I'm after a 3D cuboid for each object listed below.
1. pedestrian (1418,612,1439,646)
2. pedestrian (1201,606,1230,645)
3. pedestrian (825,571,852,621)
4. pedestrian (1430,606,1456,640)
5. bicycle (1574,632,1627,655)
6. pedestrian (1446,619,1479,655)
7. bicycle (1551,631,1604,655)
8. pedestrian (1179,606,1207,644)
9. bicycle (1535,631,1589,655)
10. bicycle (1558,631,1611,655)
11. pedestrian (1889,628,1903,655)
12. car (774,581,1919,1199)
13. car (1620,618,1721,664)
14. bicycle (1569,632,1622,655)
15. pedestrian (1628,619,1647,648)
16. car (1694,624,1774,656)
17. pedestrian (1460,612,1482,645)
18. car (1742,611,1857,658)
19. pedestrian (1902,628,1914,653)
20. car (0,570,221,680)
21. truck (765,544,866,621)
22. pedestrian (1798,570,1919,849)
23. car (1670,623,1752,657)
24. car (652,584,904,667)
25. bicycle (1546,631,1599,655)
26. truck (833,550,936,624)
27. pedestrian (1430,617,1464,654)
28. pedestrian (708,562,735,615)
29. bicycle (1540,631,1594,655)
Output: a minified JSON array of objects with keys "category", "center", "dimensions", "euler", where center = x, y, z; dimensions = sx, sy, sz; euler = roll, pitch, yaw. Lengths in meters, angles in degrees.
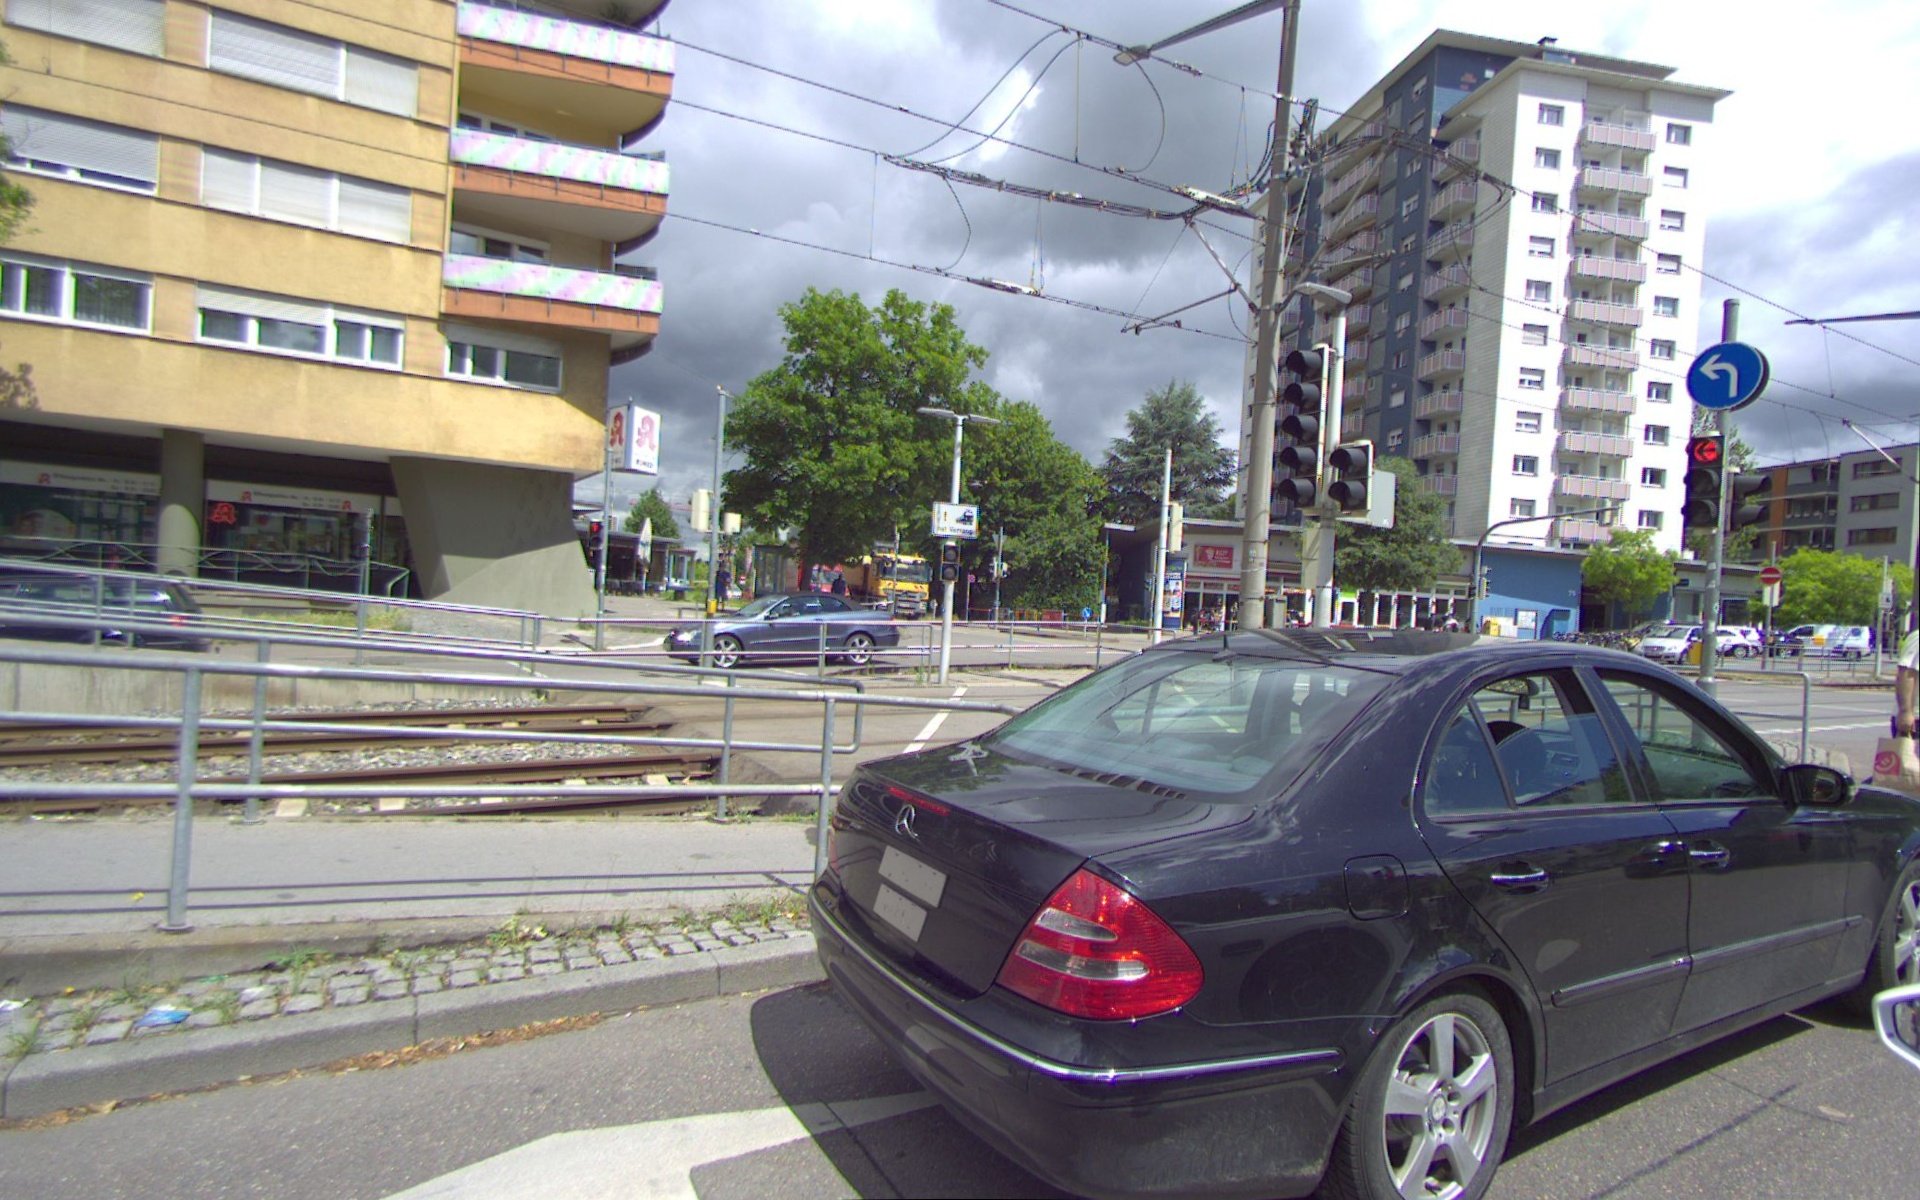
[{"category":"pedestrian","center":[23.214,1.442,49.751],"dimensions":[0.757,1.637,0.695],"euler":[2,0,39]},{"category":"pedestrian","center":[11.574,1.151,45.520],"dimensions":[0.977,1.681,0.969],"euler":[2,-1,-4]},{"category":"pedestrian","center":[-4.249,-0.154,35.073],"dimensions":[0.752,1.636,0.779],"euler":[7,1,-9]},{"category":"pedestrian","center":[27.791,1.328,57.795],"dimensions":[1.203,1.942,0.858],"euler":[1,1,-37]},{"category":"bicycle","center":[28.506,1.937,44.755],"dimensions":[0.490,0.947,1.934],"euler":[2,0,-35]},{"category":"pedestrian","center":[23.937,1.747,47.827],"dimensions":[1.085,1.681,0.941],"euler":[2,-1,-27]},{"category":"bicycle","center":[27.047,1.886,44.019],"dimensions":[0.490,0.947,1.934],"euler":[2,0,-35]},{"category":"pedestrian","center":[10.512,1.115,45.322],"dimensions":[0.977,1.681,0.969],"euler":[2,-1,-4]},{"category":"bicycle","center":[25.873,1.844,43.189],"dimensions":[0.490,0.947,1.934],"euler":[2,0,-35]},{"category":"bicycle","center":[27.510,1.903,44.296],"dimensions":[0.490,0.947,1.934],"euler":[2,0,-35]},{"category":"pedestrian","center":[61.216,2.683,65.695],"dimensions":[0.663,1.739,0.542],"euler":[1,1,-39]},{"category":"car","center":[1.774,0.753,3.638],"dimensions":[4.490,1.481,1.720],"euler":[2,0,-30]},{"category":"car","center":[29.114,1.671,41.142],"dimensions":[3.827,1.715,1.928],"euler":[2,0,-30]},{"category":"bicycle","center":[28.105,1.923,44.478],"dimensions":[0.490,0.947,1.934],"euler":[2,0,-35]},{"category":"pedestrian","center":[38.306,1.881,56.799],"dimensions":[0.759,1.637,0.694],"euler":[2,1,44]},{"category":"car","center":[42.555,2.162,55.343],"dimensions":[1.921,1.558,4.220],"euler":[2,0,13]},{"category":"pedestrian","center":[25.718,1.427,50.532],"dimensions":[0.693,1.637,0.760],"euler":[1,1,-43]},{"category":"car","center":[49.568,1.967,59.561],"dimensions":[2.776,2.512,6.724],"euler":[2,0,17]},{"category":"pedestrian","center":[66.896,2.832,70.877],"dimensions":[0.401,1.739,0.542],"euler":[1,1,-39]},{"category":"car","center":[-12.824,0.322,13.751],"dimensions":[4.205,1.433,1.621],"euler":[1,0,-32]},{"category":"truck","center":[-7.184,-0.822,48.775],"dimensions":[2.692,3.320,8.877],"euler":[2,0,-22]},{"category":"pedestrian","center":[6.514,0.720,6.966],"dimensions":[0.734,1.832,0.863],"euler":[1,1,-33]},{"category":"car","center":[39.922,2.100,53.505],"dimensions":[1.921,1.591,4.220],"euler":[2,0,13]},{"category":"car","center":[-3.433,0.505,19.278],"dimensions":[4.445,1.418,1.625],"euler":[2,0,-32]},{"category":"bicycle","center":[26.660,1.872,43.748],"dimensions":[0.490,0.947,1.934],"euler":[2,0,-35]},{"category":"truck","center":[-3.832,-0.619,49.051],"dimensions":[2.733,3.244,7.443],"euler":[2,0,-23]},{"category":"pedestrian","center":[22.896,1.681,47.247],"dimensions":[1.085,1.681,0.941],"euler":[2,-1,-27]},{"category":"pedestrian","center":[-7.623,-0.380,32.078],"dimensions":[0.753,1.638,0.776],"euler":[0,4,-19]},{"category":"bicycle","center":[26.249,1.858,43.459],"dimensions":[0.490,0.947,1.934],"euler":[2,0,-35]}]
